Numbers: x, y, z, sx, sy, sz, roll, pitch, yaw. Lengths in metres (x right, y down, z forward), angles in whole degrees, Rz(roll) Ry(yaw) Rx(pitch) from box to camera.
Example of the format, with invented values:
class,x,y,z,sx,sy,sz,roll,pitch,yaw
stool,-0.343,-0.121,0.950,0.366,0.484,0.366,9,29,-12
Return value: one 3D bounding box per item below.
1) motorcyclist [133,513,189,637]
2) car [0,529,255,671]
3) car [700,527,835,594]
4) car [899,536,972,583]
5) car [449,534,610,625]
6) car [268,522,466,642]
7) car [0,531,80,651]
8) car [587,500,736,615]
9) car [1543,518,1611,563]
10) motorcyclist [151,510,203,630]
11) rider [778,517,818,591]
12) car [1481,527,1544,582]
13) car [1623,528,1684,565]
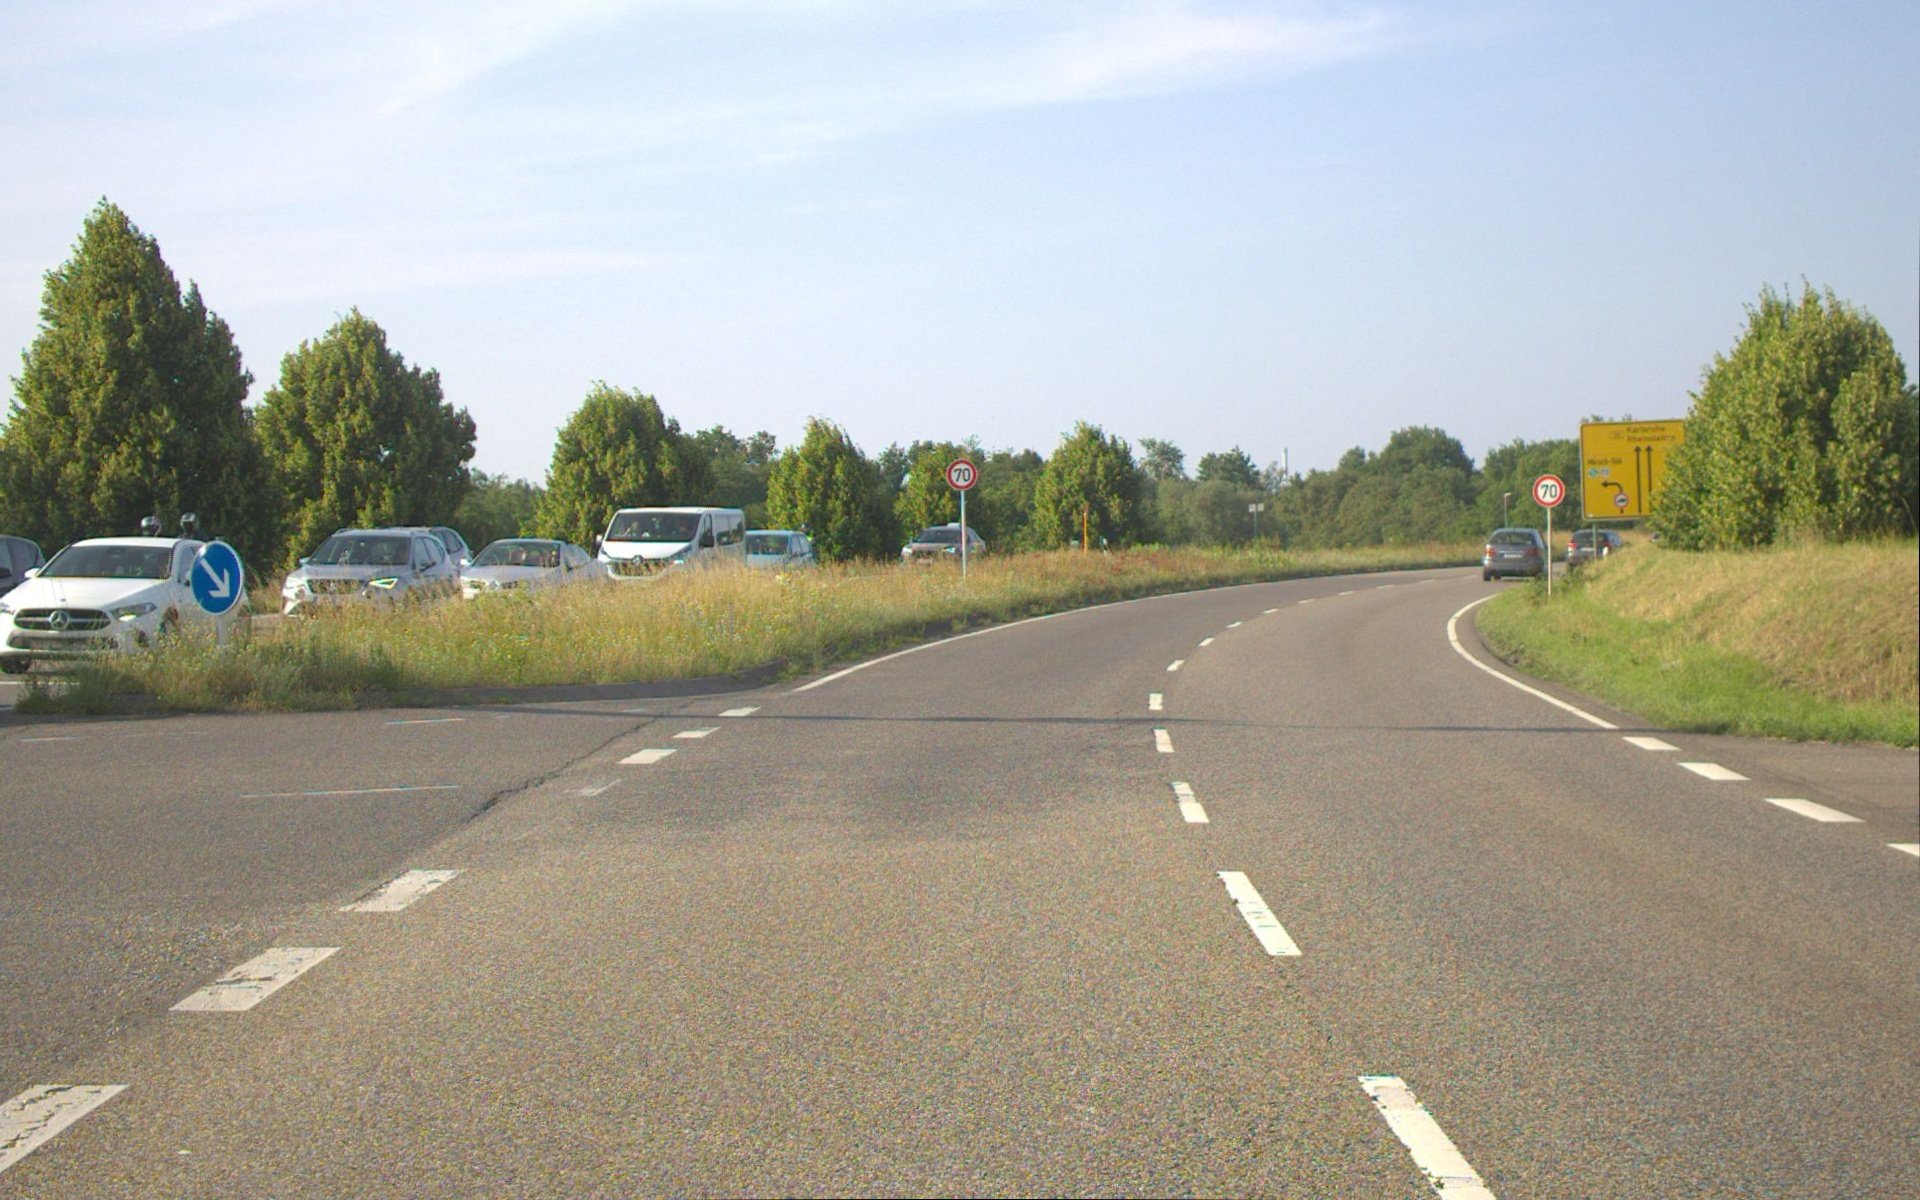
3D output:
class,x,y,z,sx,sy,sz,roll,pitch,yaw
motorcyclist,-11.349,-0.358,48.842,0.662,1.741,0.605,-1,1,-3
car,-9.051,-0.033,36.954,1.786,1.428,4.308,-1,1,4
car,-4.065,-0.857,73.249,1.787,1.381,4.049,0,1,13
car,-0.737,-1.251,104.448,1.406,1.397,3.420,0,1,14
car,-6.832,-0.352,54.911,1.786,1.381,4.051,-1,1,4
car,-8.147,-0.275,47.559,1.786,1.563,4.051,-1,1,4
car,-12.321,-0.115,42.114,1.786,1.428,4.051,-1,1,4
car,-5.589,-0.809,64.865,1.926,2.071,4.242,-1,1,7
car,21.984,-2.100,122.401,1.811,1.560,4.527,0,1,18
motorcyclist,-11.937,-0.455,52.398,0.662,1.810,0.605,-1,1,-3
rider,-4.411,-1.248,93.723,0.868,2.007,0.771,0,1,15
car,16.709,-1.364,104.049,1.785,1.600,4.194,0,0,8
car,28.401,-2.198,140.788,1.775,1.487,3.981,0,1,21
